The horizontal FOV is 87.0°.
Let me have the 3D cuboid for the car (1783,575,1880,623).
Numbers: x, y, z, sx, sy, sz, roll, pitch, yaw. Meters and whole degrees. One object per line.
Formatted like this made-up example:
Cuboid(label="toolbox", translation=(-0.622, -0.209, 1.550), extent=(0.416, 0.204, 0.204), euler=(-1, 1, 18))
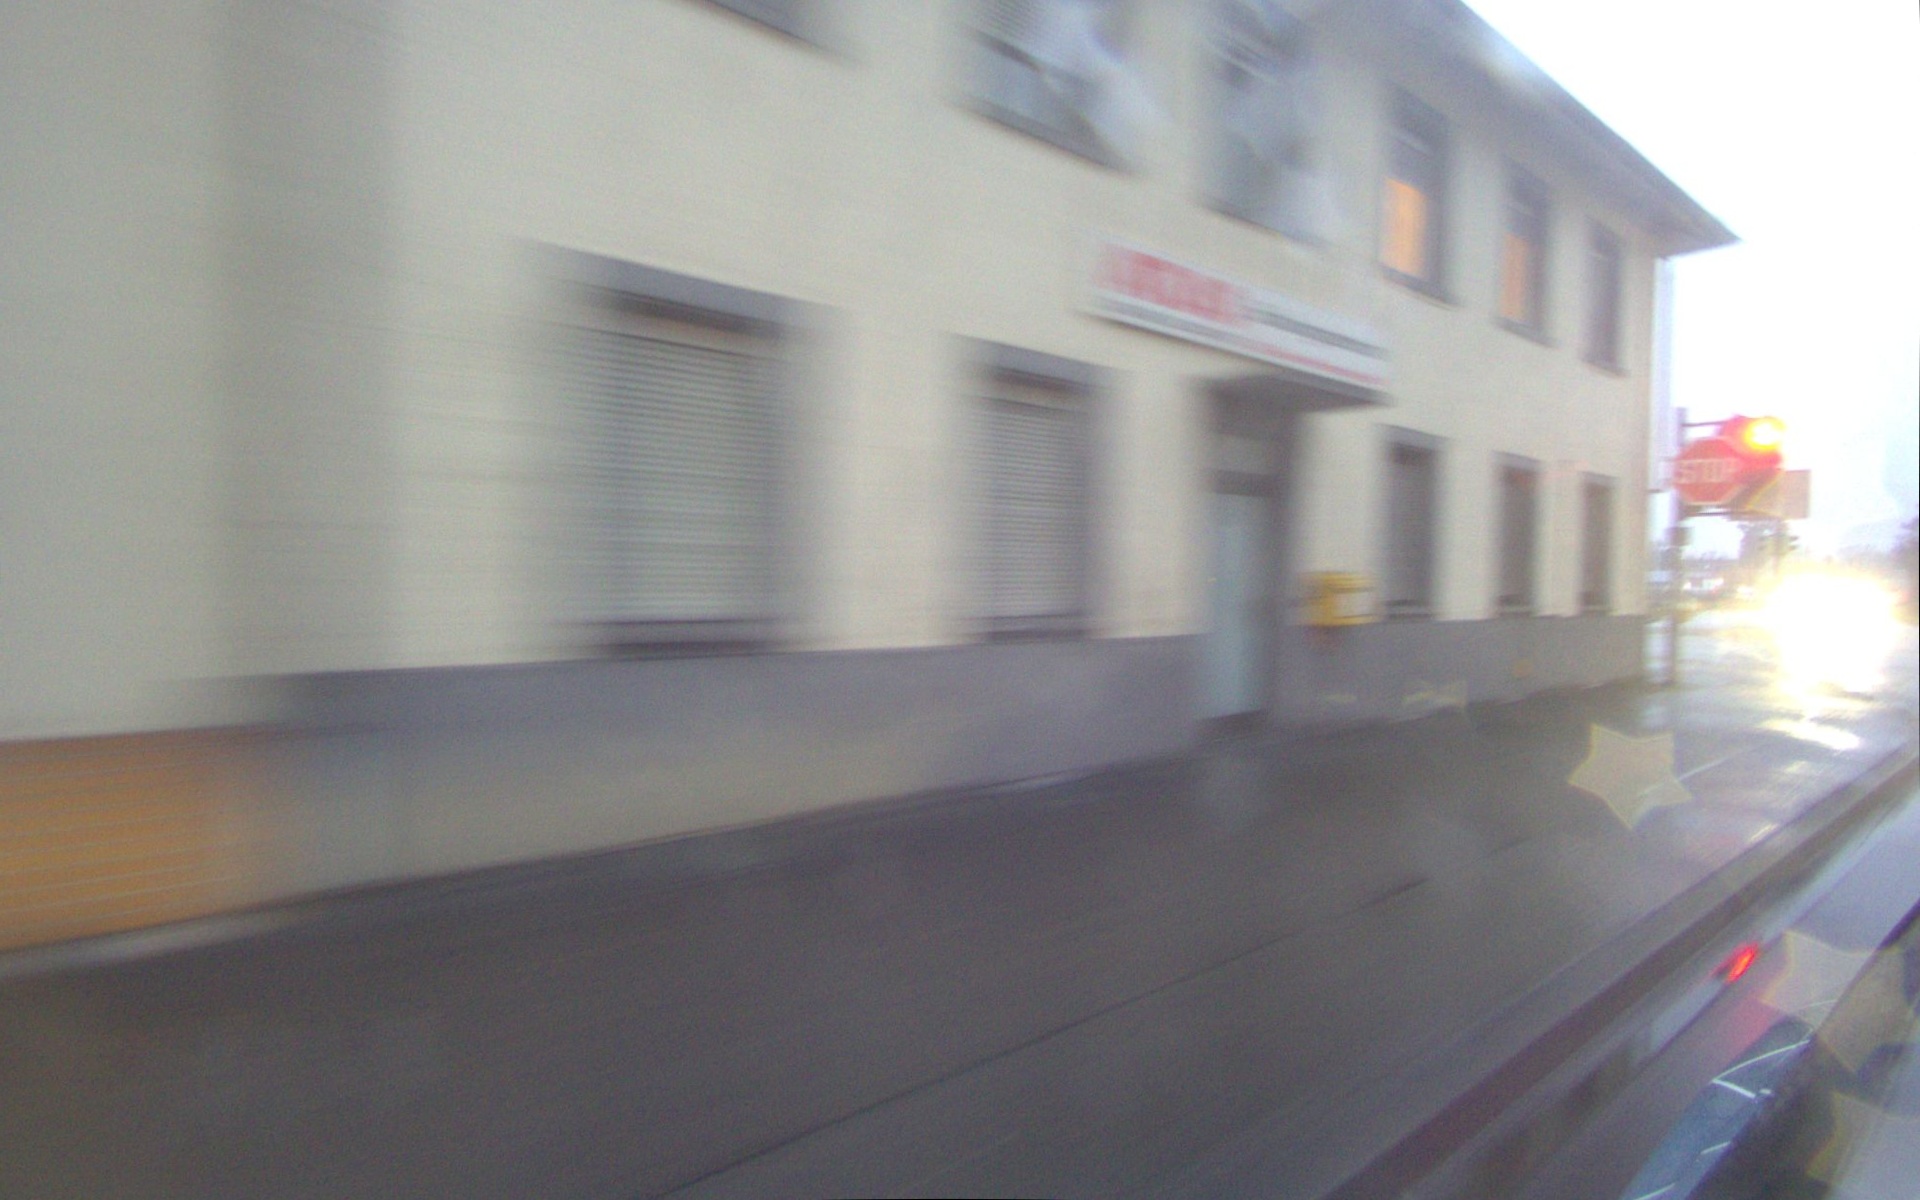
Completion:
Cuboid(label="car", translation=(34.174, -0.066, 39.794), extent=(1.799, 1.709, 3.884), euler=(3, 2, 25))
